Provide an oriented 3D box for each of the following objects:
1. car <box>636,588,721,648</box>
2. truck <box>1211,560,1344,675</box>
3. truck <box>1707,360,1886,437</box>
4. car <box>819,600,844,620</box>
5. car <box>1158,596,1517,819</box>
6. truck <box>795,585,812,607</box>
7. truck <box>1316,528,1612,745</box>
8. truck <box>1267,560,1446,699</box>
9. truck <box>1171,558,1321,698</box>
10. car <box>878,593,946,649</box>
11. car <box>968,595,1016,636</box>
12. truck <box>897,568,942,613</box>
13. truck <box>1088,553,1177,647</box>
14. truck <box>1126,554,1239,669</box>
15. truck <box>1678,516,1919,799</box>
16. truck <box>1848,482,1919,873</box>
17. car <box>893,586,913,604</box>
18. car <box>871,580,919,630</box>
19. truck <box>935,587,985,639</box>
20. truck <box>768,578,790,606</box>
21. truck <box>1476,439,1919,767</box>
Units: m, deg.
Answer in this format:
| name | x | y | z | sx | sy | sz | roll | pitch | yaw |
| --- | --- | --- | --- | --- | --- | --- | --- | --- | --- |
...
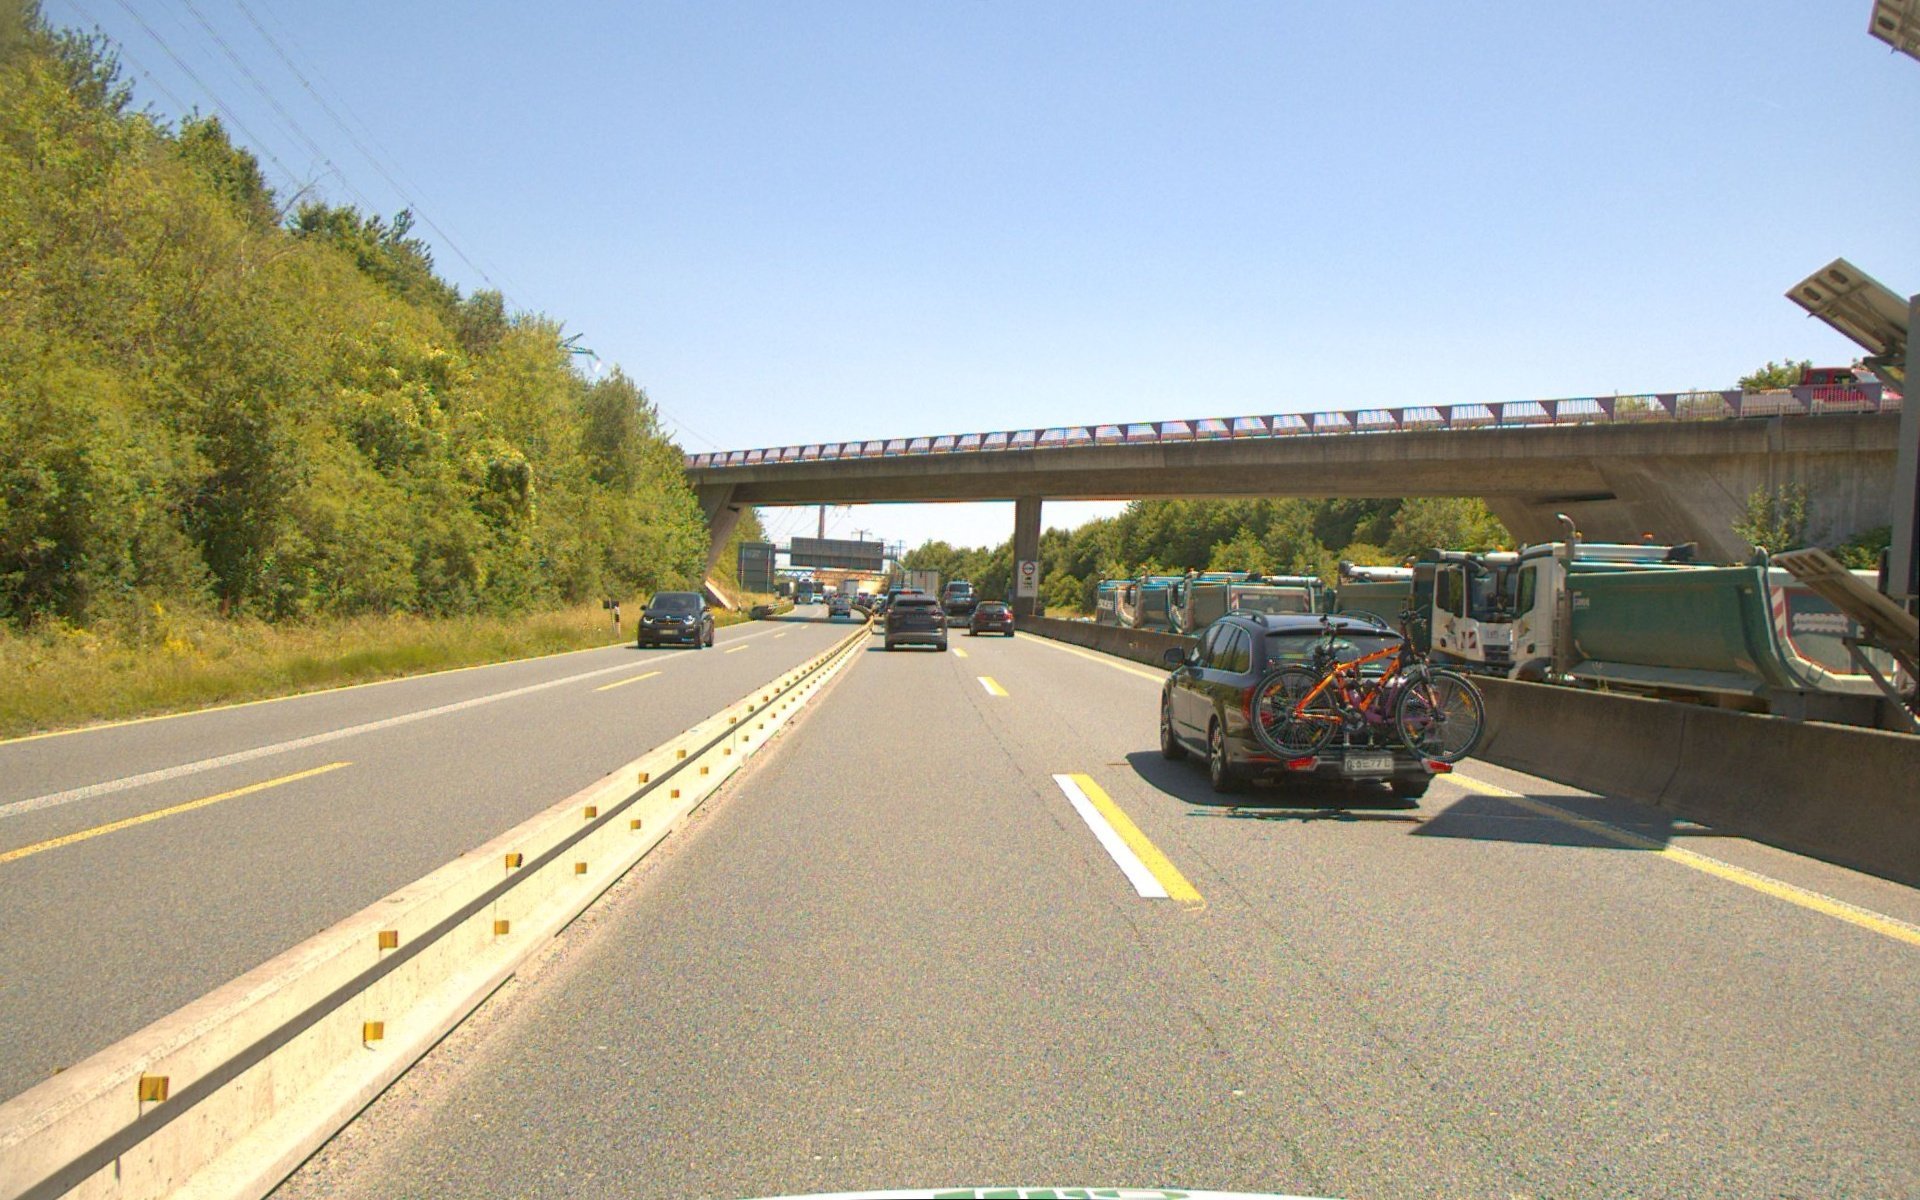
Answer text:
| name | x | y | z | sx | sy | sz | roll | pitch | yaw |
| --- | --- | --- | --- | --- | --- | --- | --- | --- | --- |
| car | -7.944 | 0.480 | 47.018 | 1.742 | 1.604 | 4.068 | 1 | 0 | -1 |
| truck | 11.375 | 0.578 | 60.199 | 2.633 | 3.792 | 9.321 | 1 | 0 | -2 |
| truck | 29.717 | -7.116 | 58.931 | 1.916 | 2.102 | 5.442 | 2 | -1 | -37 |
| car | -9.473 | 0.709 | 122.480 | 1.640 | 1.418 | 4.069 | 1 | 0 | -2 |
| car | 2.945 | 0.772 | 14.068 | 1.860 | 1.516 | 4.946 | 1 | 0 | -1 |
| truck | -24.106 | -0.646 | 254.370 | 2.460 | 3.242 | 10.096 | 1 | 0 | -6 |
| truck | 9.568 | 0.613 | 32.735 | 2.633 | 3.619 | 9.321 | 1 | 0 | -2 |
| truck | 11.353 | 0.764 | 48.414 | 2.633 | 3.619 | 9.321 | 1 | 0 | -2 |
| truck | 8.554 | 0.776 | 50.647 | 2.633 | 3.826 | 9.321 | 1 | 0 | -2 |
| car | -1.371 | 0.605 | 48.563 | 1.860 | 1.531 | 4.275 | 1 | 0 | -1 |
| car | 1.318 | 0.640 | 69.705 | 1.860 | 1.613 | 4.275 | 1 | 0 | -1 |
| truck | -3.804 | -0.874 | 151.668 | 3.229 | 3.912 | 10.096 | 1 | 0 | -6 |
| truck | 7.650 | 0.008 | 74.485 | 2.633 | 3.910 | 9.321 | 1 | 0 | -2 |
| truck | 8.189 | 0.386 | 62.154 | 2.633 | 3.923 | 9.321 | 1 | 0 | -2 |
| truck | 12.916 | 0.720 | 21.481 | 2.633 | 3.437 | 9.598 | 1 | 0 | -2 |
| truck | 10.236 | 0.745 | 11.804 | 2.632 | 3.619 | 9.405 | 1 | 0 | -1 |
| car | -6.424 | -0.560 | 186.782 | 1.863 | 2.003 | 4.269 | 1 | 0 | -7 |
| car | -2.702 | 0.212 | 69.866 | 1.860 | 2.003 | 4.275 | 1 | 0 | -1 |
| truck | -0.057 | 0.645 | 89.462 | 2.357 | 2.603 | 7.496 | 1 | 0 | -2 |
| truck | -21.789 | -1.003 | 199.332 | 2.460 | 3.242 | 10.096 | 1 | 0 | -6 |
| truck | 10.173 | 0.039 | 23.137 | 2.633 | 3.619 | 9.321 | 1 | 0 | -2 |
